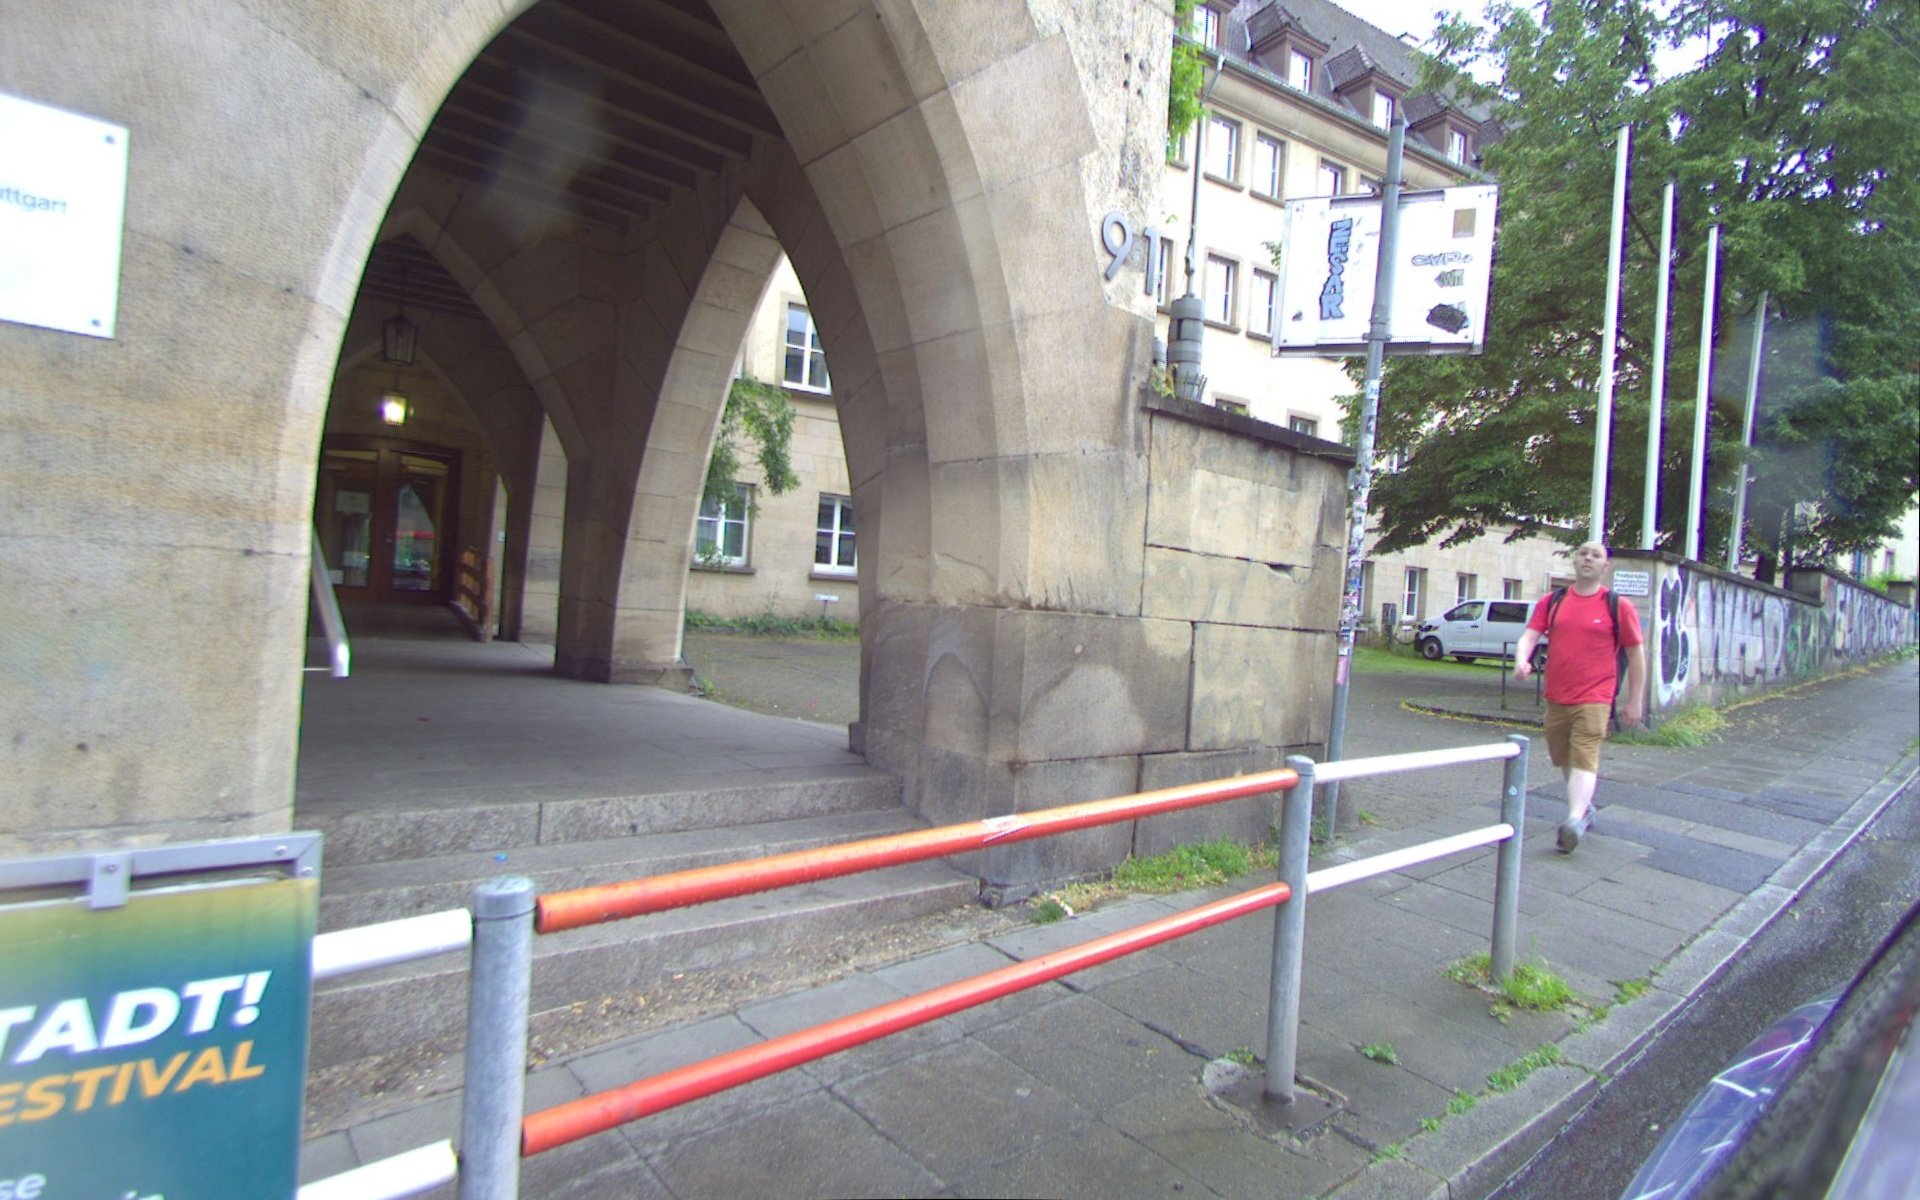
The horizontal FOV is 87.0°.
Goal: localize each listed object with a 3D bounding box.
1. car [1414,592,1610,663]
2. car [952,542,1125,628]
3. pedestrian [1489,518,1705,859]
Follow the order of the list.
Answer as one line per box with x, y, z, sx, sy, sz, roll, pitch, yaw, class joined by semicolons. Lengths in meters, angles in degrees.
15.284;0.709;28.284;1.786;1.802;4.538;0;0;-29;car
1.399;-0.260;19.590;1.579;1.488;3.922;0;0;-26;car
3.687;0.451;5.867;0.804;1.785;0.748;1;4;-41;pedestrian
